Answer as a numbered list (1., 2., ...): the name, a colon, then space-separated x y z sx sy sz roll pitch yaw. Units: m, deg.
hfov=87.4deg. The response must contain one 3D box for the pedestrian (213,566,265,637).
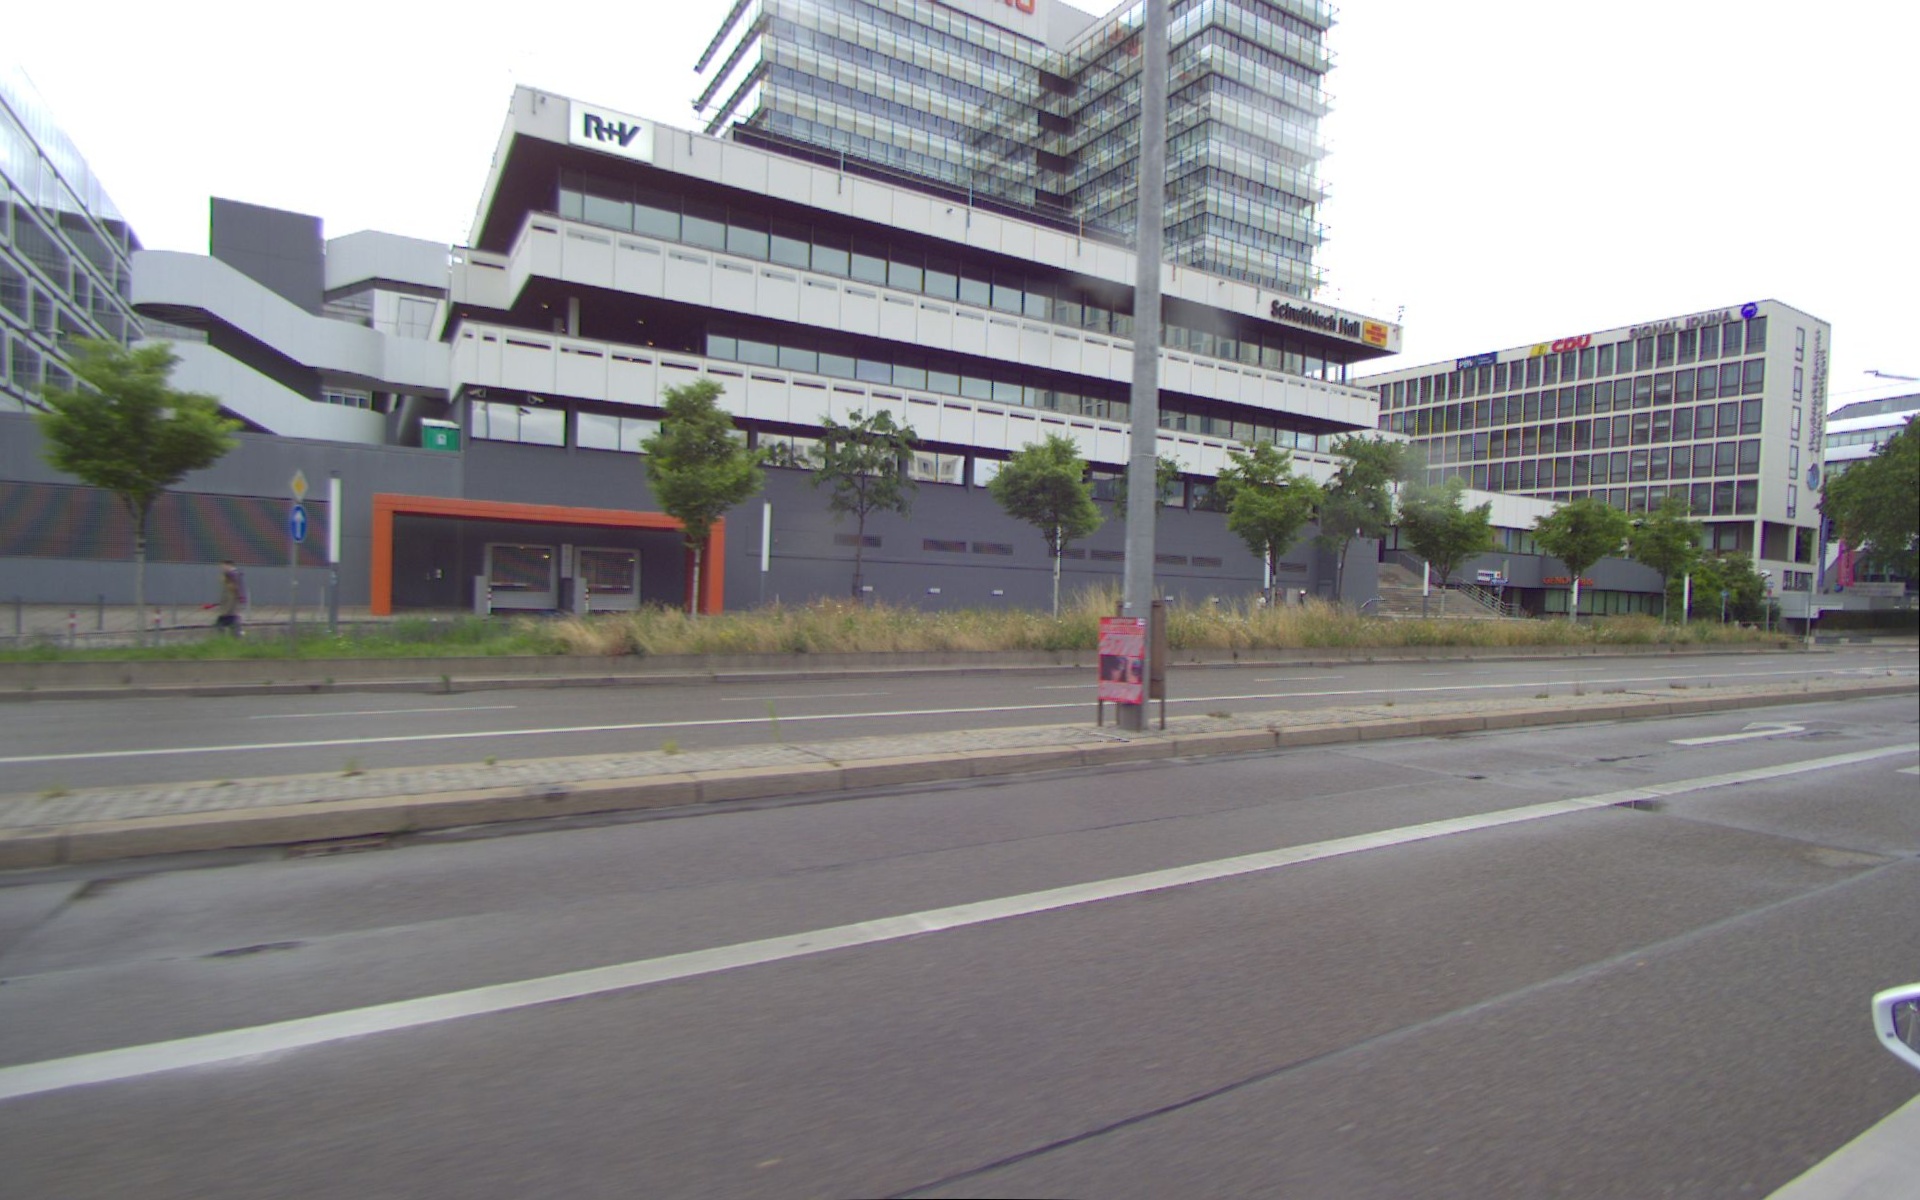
1. pedestrian: -15.416 0.040 21.483 0.789 1.465 0.615 2 0 -30

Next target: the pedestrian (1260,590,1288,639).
1. pedestrian: 11.984 0.564 38.333 0.621 1.832 0.780 2 0 -31

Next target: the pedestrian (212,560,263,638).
1. pedestrian: -15.987 -0.027 22.244 0.789 1.680 0.615 2 0 -30

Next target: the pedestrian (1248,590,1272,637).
1. pedestrian: 11.884 0.518 39.807 0.621 1.832 0.626 2 0 -31
